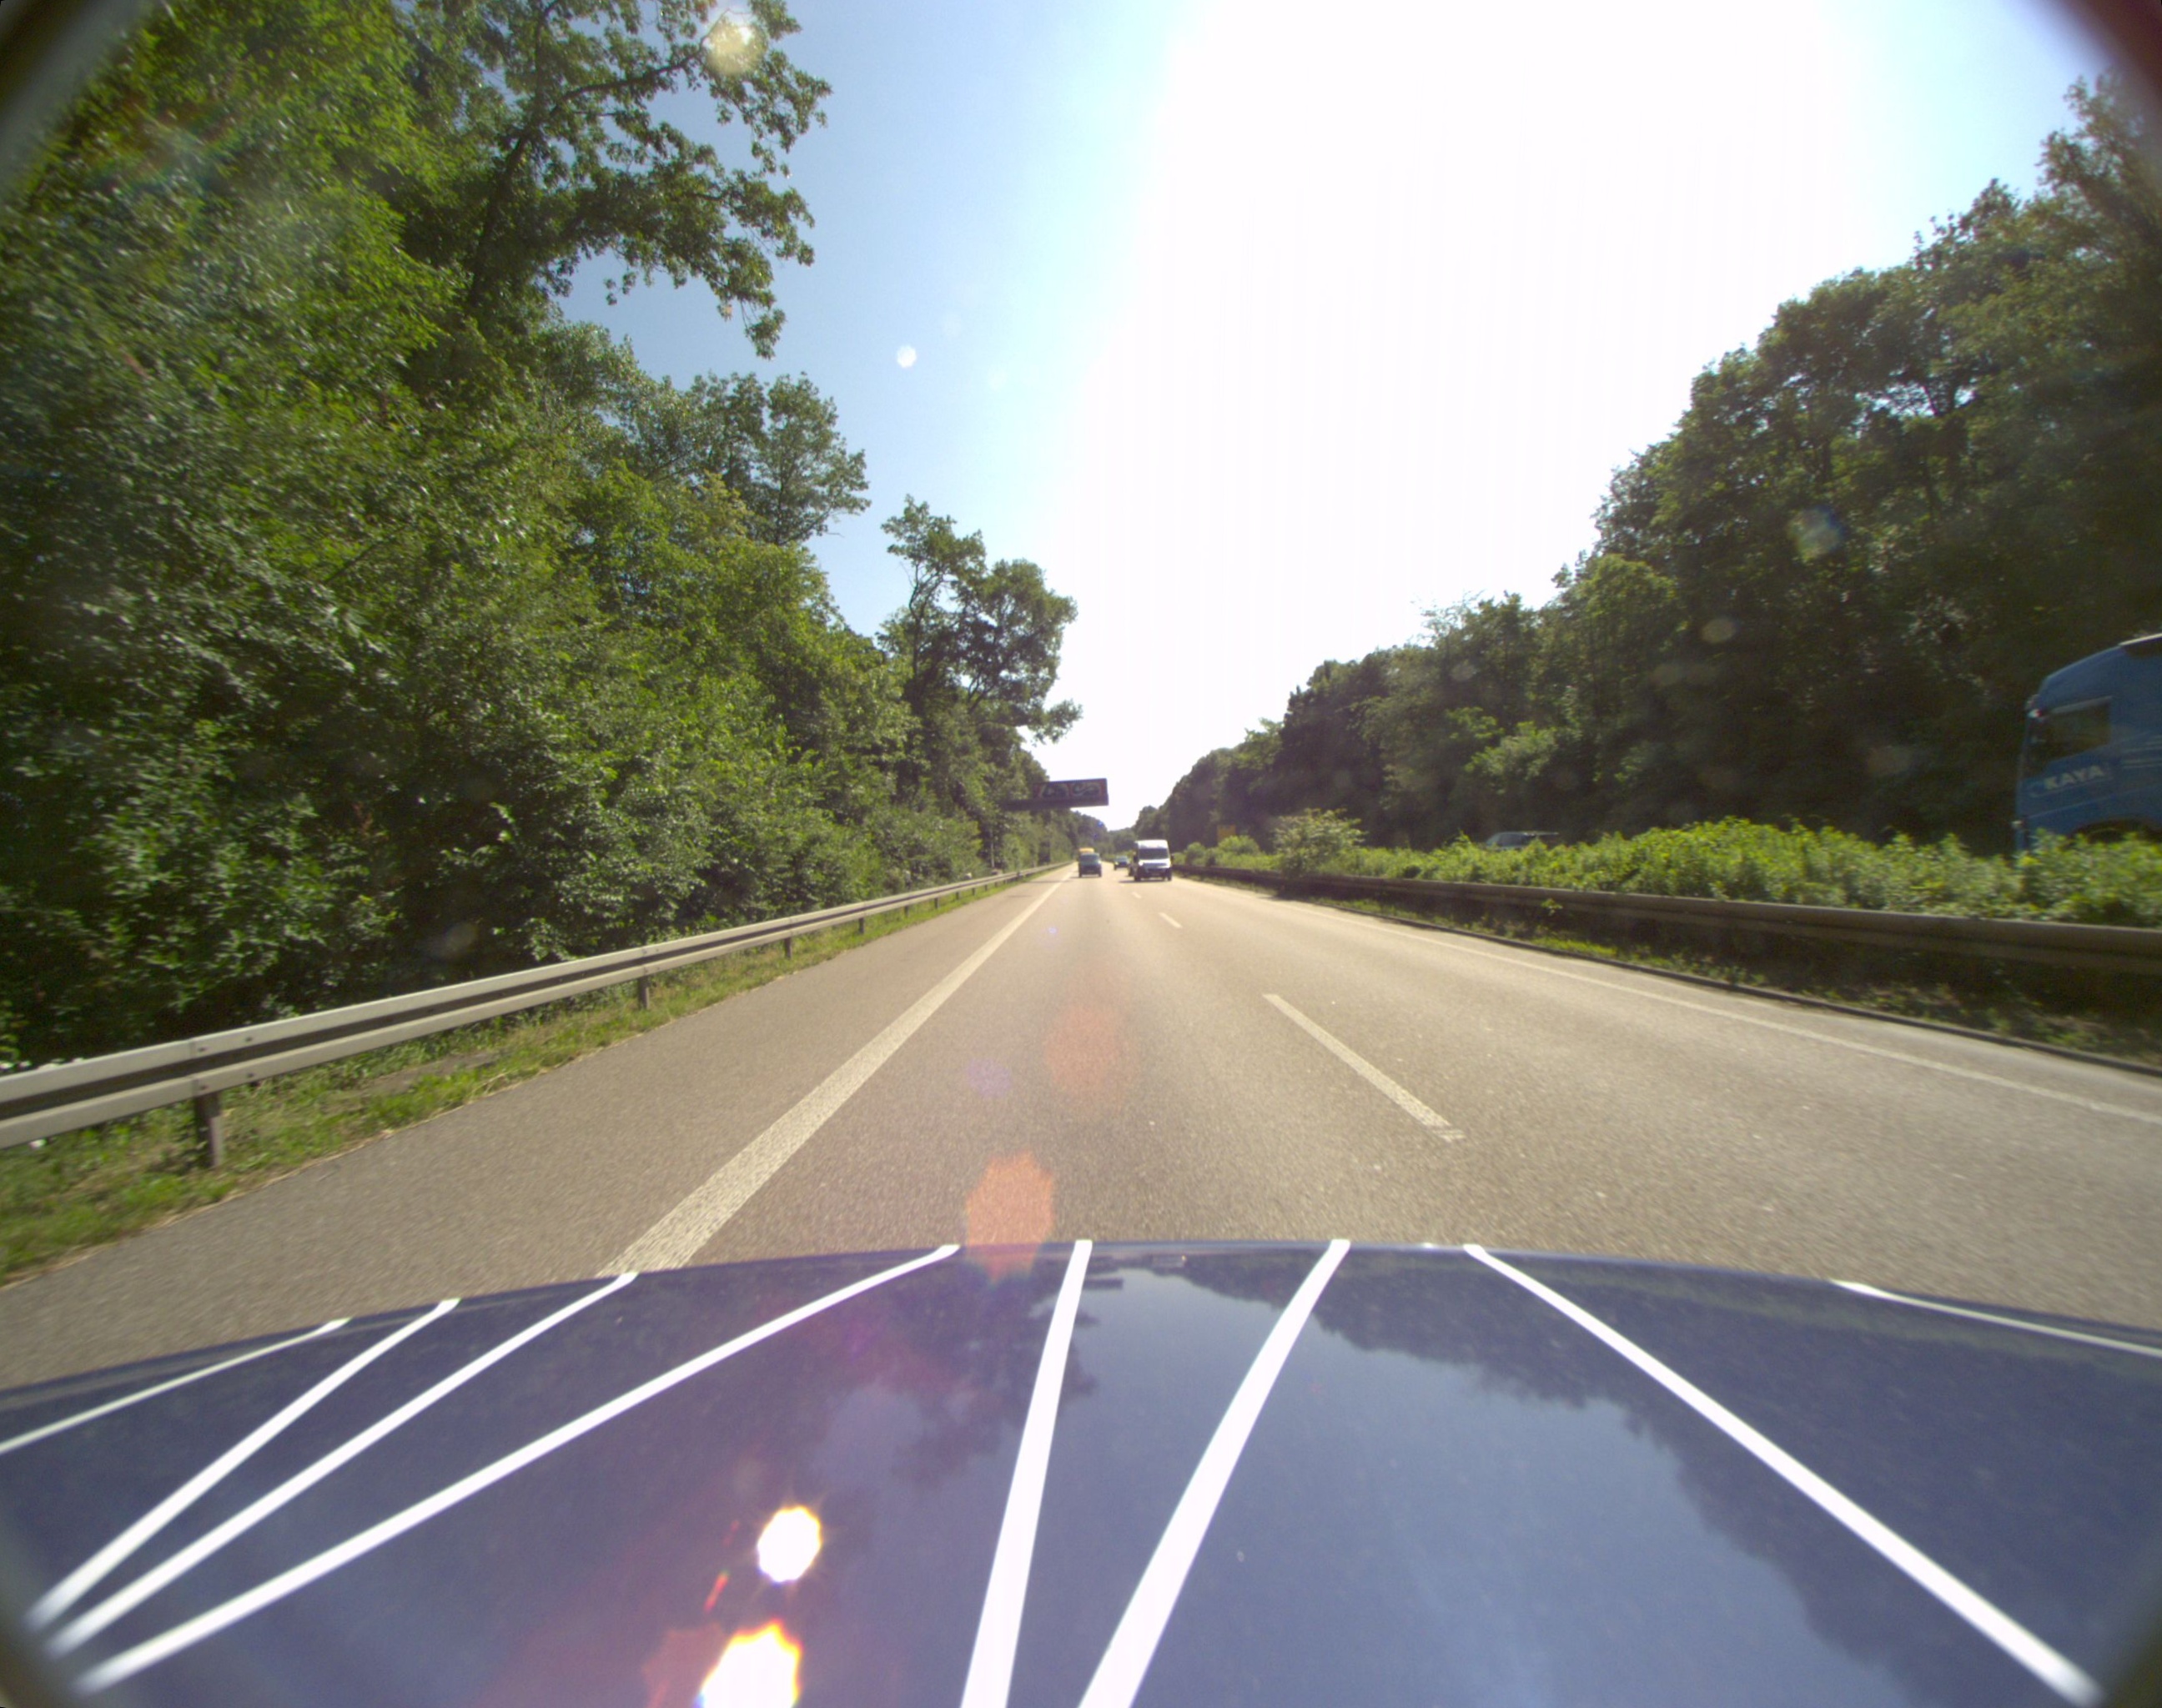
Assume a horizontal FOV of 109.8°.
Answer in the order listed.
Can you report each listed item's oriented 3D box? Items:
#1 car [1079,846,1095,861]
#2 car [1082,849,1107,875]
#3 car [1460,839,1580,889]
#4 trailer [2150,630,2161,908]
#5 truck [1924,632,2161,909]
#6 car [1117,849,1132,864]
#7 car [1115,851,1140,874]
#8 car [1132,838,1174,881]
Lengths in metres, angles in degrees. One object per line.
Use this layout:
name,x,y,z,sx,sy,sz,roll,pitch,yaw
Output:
car,0.760,-0.046,89.460,1.737,1.624,3.899,-2,0,1
car,1.030,0.579,59.097,1.812,1.921,4.581,-2,0,0
car,16.029,0.357,28.069,1.697,1.652,4.714,0,0,0
trailer,15.639,-1.144,6.183,2.695,3.690,7.984,-2,0,1
truck,15.742,-1.167,10.968,2.652,3.684,4.000,-2,1,1
car,5.066,0.237,88.770,1.517,1.624,3.611,-2,0,1
car,3.558,0.625,58.652,1.666,1.624,3.644,-2,0,1
car,4.356,0.293,46.512,2.046,2.429,4.637,-2,0,0
